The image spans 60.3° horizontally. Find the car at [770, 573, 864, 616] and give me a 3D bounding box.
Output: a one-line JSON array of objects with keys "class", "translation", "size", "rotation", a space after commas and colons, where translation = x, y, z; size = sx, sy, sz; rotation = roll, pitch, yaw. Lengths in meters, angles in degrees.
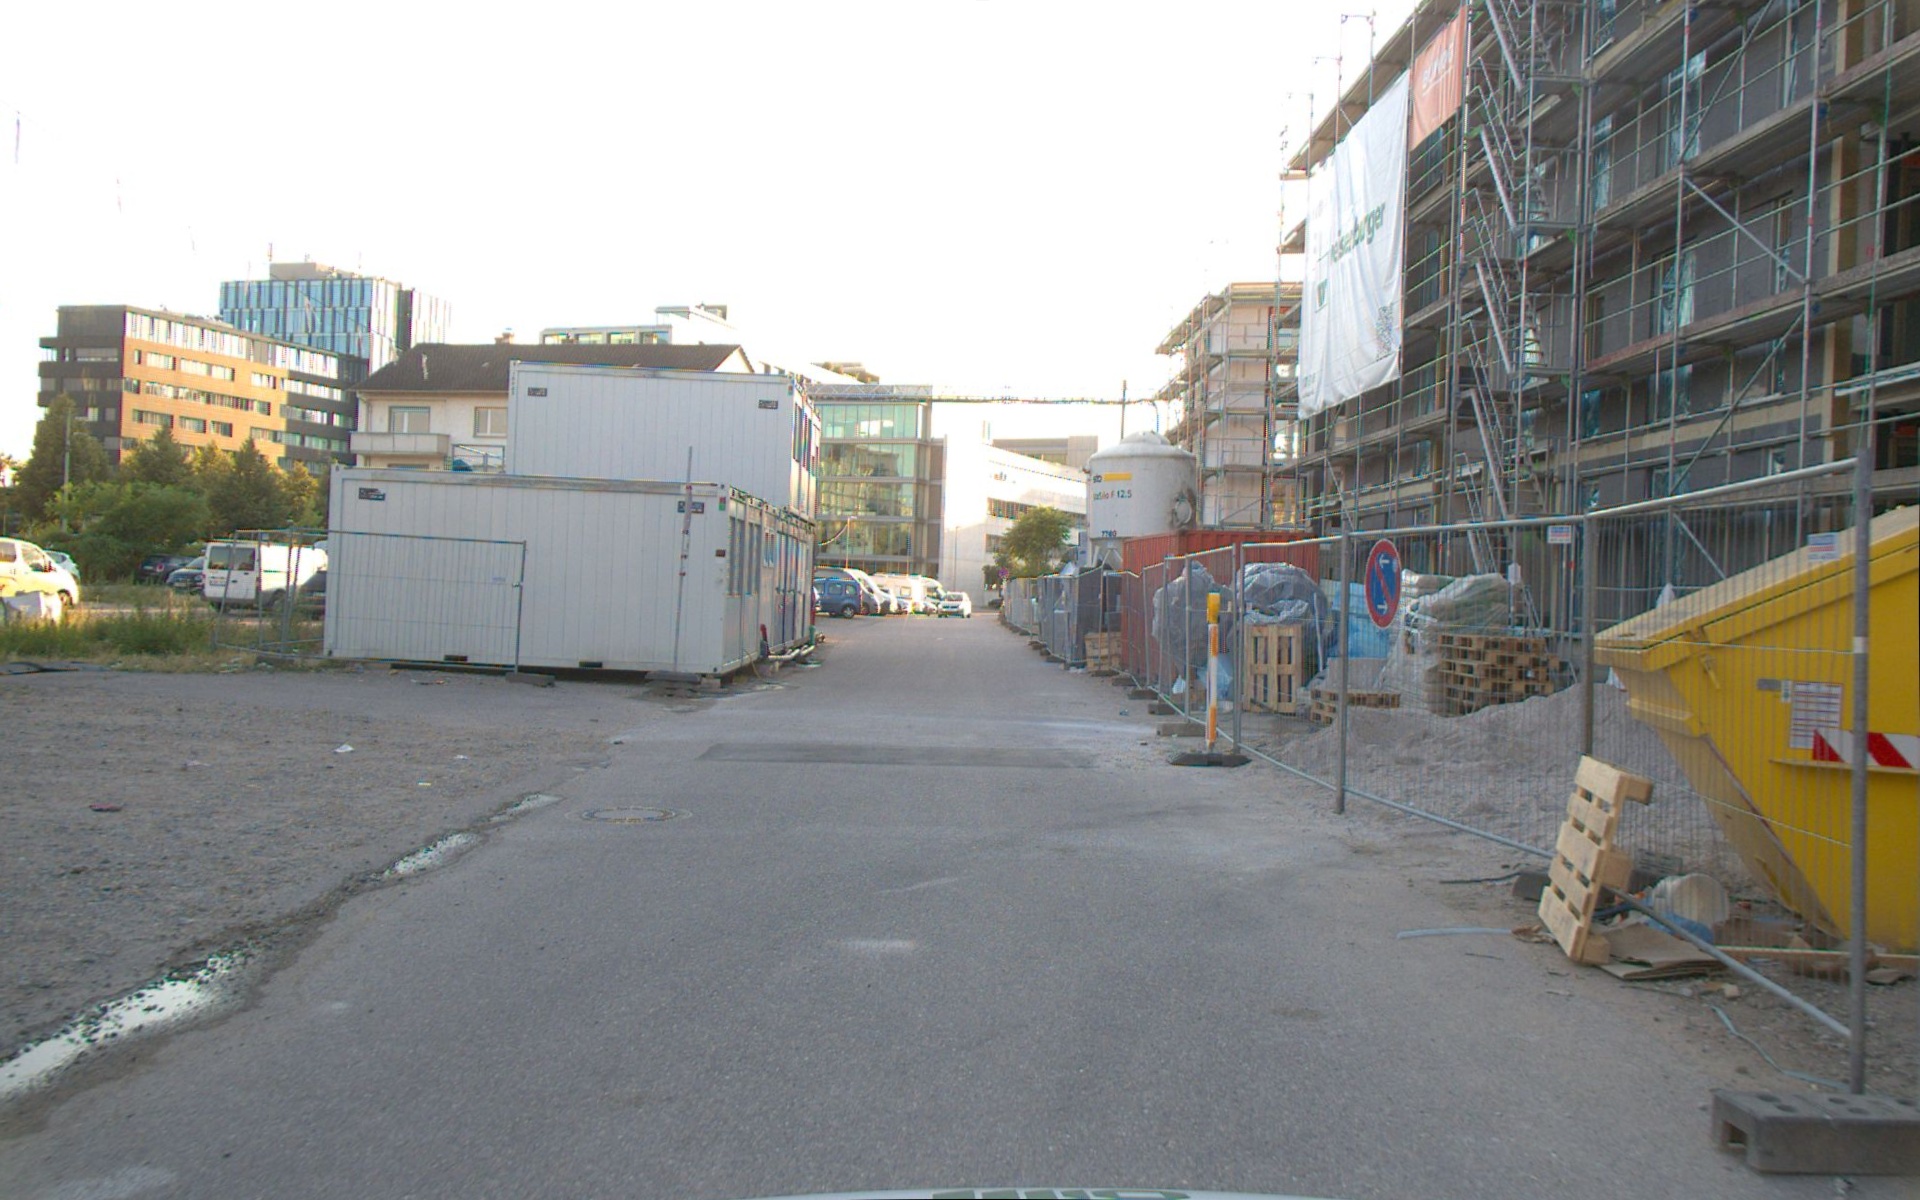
[{"class": "car", "translation": [-6.896, -0.279, 79.907], "size": [4.417, 1.901, 1.998], "rotation": [2, 0, -6]}]

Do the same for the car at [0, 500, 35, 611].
[{"class": "car", "translation": [-24.807, -1.139, 39.627], "size": [1.951, 2.739, 4.862], "rotation": [2, 0, 8]}]

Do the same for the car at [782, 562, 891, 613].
[{"class": "car", "translation": [-7.252, -0.721, 97.689], "size": [6.198, 2.789, 2.000], "rotation": [2, 0, 0]}]

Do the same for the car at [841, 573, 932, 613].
[{"class": "car", "translation": [-5.008, -0.507, 112.976], "size": [5.797, 2.533, 2.002], "rotation": [2, 0, 11]}]

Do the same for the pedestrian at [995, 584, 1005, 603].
[{"class": "pedestrian", "translation": [3.877, -0.642, 160.567], "size": [0.748, 1.848, 0.845], "rotation": [2, 0, 23]}]

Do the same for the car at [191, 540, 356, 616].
[{"class": "car", "translation": [-20.293, -0.606, 49.156], "size": [2.259, 2.049, 5.061], "rotation": [2, 0, 7]}]

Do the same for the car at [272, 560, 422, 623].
[{"class": "car", "translation": [-17.814, -0.233, 48.393], "size": [1.969, 1.681, 5.061], "rotation": [2, 0, 7]}]

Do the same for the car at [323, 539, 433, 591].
[{"class": "car", "translation": [-25.140, -1.471, 71.704], "size": [2.259, 2.049, 5.062], "rotation": [2, 0, 10]}]

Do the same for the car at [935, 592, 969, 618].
[{"class": "car", "translation": [-0.494, 0.311, 106.234], "size": [1.629, 1.555, 3.913], "rotation": [2, 0, 8]}]

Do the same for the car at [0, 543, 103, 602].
[{"class": "car", "translation": [-33.117, -0.972, 59.210], "size": [1.952, 2.009, 4.861], "rotation": [2, 0, 5]}]

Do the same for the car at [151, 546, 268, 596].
[{"class": "car", "translation": [-33.584, -1.268, 74.155], "size": [2.259, 2.049, 5.062], "rotation": [2, 0, 10]}]

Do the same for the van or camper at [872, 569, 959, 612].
[{"class": "van or camper", "translation": [-3.372, -0.741, 126.805], "size": [6.198, 3.030, 2.294], "rotation": [3, 0, 12]}]

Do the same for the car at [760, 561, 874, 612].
[{"class": "car", "translation": [-8.072, -0.753, 93.788], "size": [6.198, 2.697, 2.000], "rotation": [2, 0, 0]}]

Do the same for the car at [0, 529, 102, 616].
[{"class": "car", "translation": [-22.857, -0.668, 39.211], "size": [1.951, 2.009, 4.862], "rotation": [2, 0, 8]}]
